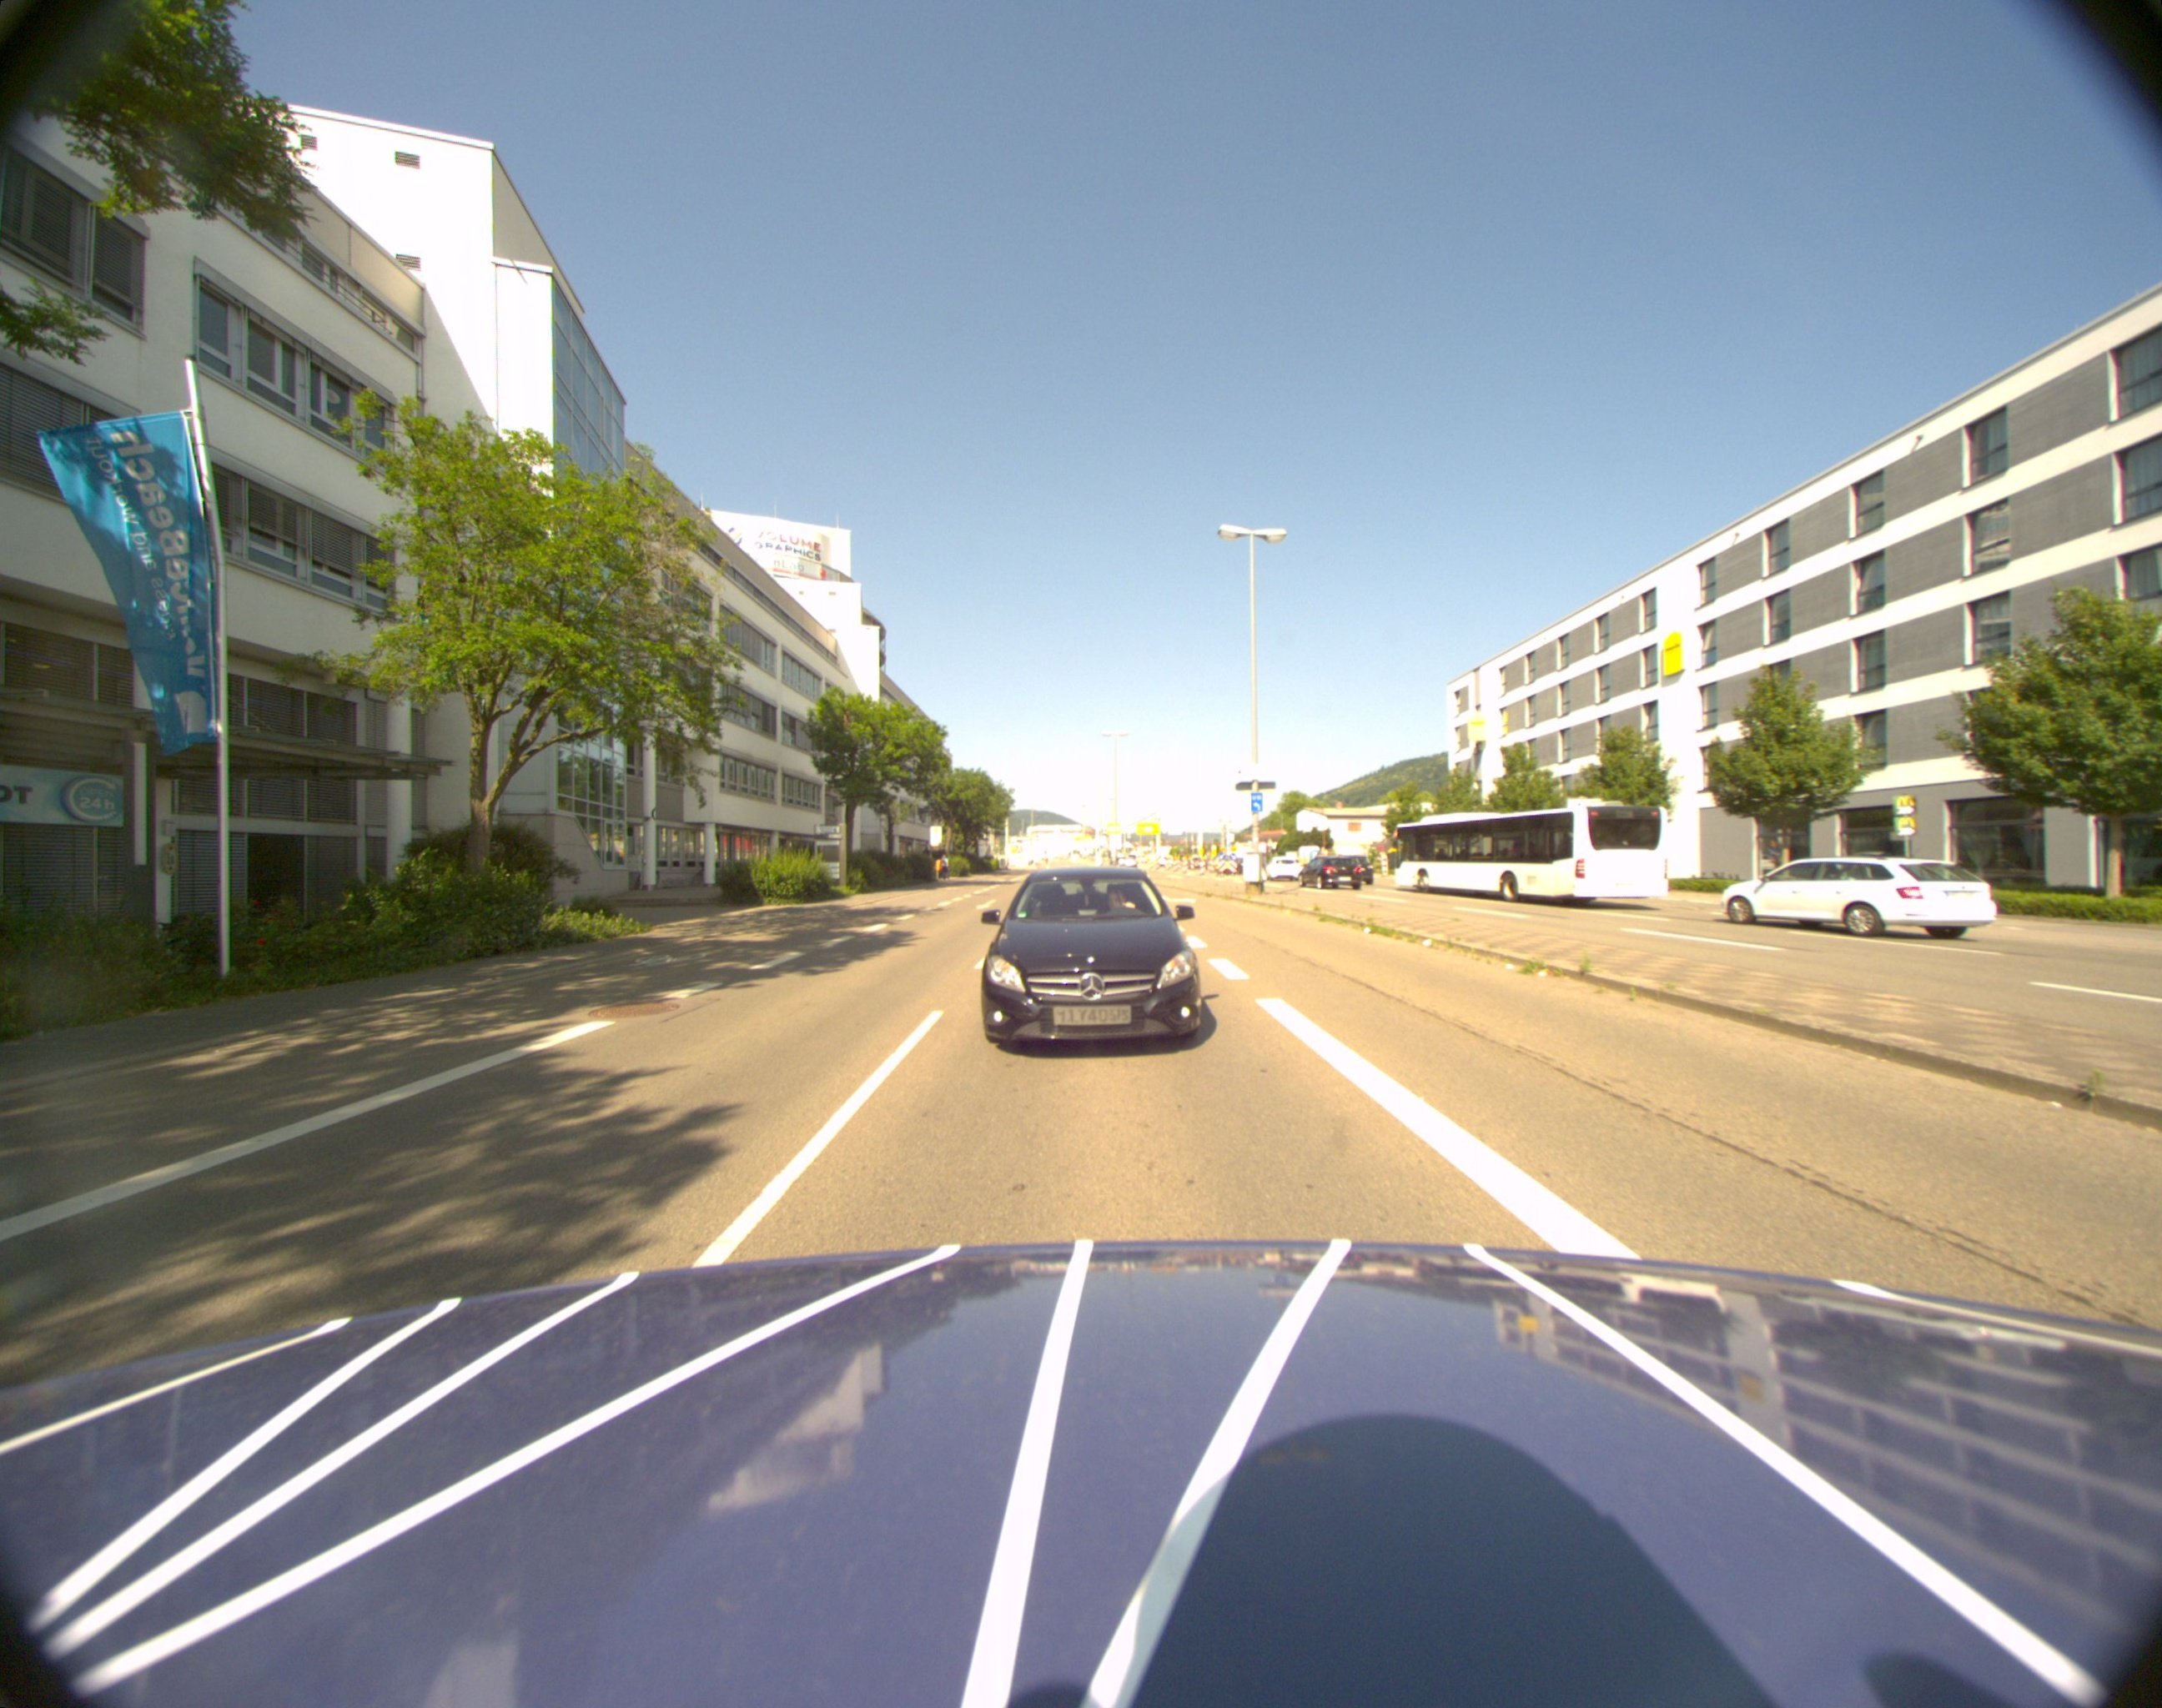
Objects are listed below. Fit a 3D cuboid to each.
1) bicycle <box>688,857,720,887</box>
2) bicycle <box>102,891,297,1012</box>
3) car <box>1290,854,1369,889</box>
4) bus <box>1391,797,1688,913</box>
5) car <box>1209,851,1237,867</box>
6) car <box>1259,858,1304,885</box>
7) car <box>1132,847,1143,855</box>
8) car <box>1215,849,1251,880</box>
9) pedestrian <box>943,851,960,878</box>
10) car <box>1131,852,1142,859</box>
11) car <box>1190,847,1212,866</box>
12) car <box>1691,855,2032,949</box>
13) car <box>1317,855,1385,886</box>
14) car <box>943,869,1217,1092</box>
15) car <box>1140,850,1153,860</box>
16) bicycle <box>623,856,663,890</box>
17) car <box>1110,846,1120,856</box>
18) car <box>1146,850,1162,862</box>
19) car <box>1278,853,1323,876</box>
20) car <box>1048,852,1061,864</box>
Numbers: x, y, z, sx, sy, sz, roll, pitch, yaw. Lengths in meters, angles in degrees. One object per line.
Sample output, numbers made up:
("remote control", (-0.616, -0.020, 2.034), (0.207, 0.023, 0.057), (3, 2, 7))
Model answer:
("bicycle", (-17.719, 0.814, 35.746), (0.506, 1.346, 1.884), (-1, 0, 1))
("bicycle", (-11.269, 1.186, 9.824), (0.506, 1.321, 1.883), (0, 0, -8))
("car", (11.194, 0.749, 34.592), (1.998, 1.424, 4.890), (-1, 0, 0))
("bus", (14.725, -0.001, 26.345), (2.745, 3.061, 11.973), (1, 0, -1))
("car", (14.462, 0.514, 77.624), (1.998, 1.514, 4.891), (-1, 0, 1))
("car", (12.138, 1.034, 46.223), (1.763, 1.443, 4.000), (-2, 1, 3))
("car", (13.295, -0.758, 179.929), (1.999, 1.725, 3.998), (-1, 0, -3))
("car", (10.711, 0.714, 53.794), (1.679, 2.002, 4.164), (-2, 1, 1))
("pedestrian", (-9.182, 0.743, 53.918), (0.942, 1.875, 1.289), (2, 1, 0))
("car", (11.817, 0.321, 162.878), (1.815, 1.328, 3.937), (-1, 0, -3))
("car", (13.635, 0.247, 86.291), (1.998, 2.002, 4.000), (-2, 1, 3))
("car", (15.010, 0.821, 15.078), (1.999, 1.477, 4.410), (2, 1, -5))
("car", (14.679, 0.853, 41.645), (1.998, 1.514, 4.891), (-1, 0, 1))
("car", (0.020, 0.937, 7.682), (1.905, 1.431, 4.693), (-1, 0, 1))
("car", (12.635, 0.205, 146.674), (1.999, 2.002, 3.999), (0, 0, -1))
("bicycle", (-18.059, 0.767, 31.348), (0.506, 1.346, 1.884), (-1, 0, 1))
("car", (7.273, -0.659, 162.415), (1.998, 2.002, 3.999), (-2, 1, 1))
("car", (10.988, 0.326, 114.627), (1.998, 1.702, 4.891), (-1, 0, 1))
("car", (15.235, 0.687, 53.012), (1.858, 1.530, 3.977), (0, 0, -2))
("car", (-4.623, 0.679, 132.179), (1.998, 2.002, 4.000), (-2, 1, 2))
